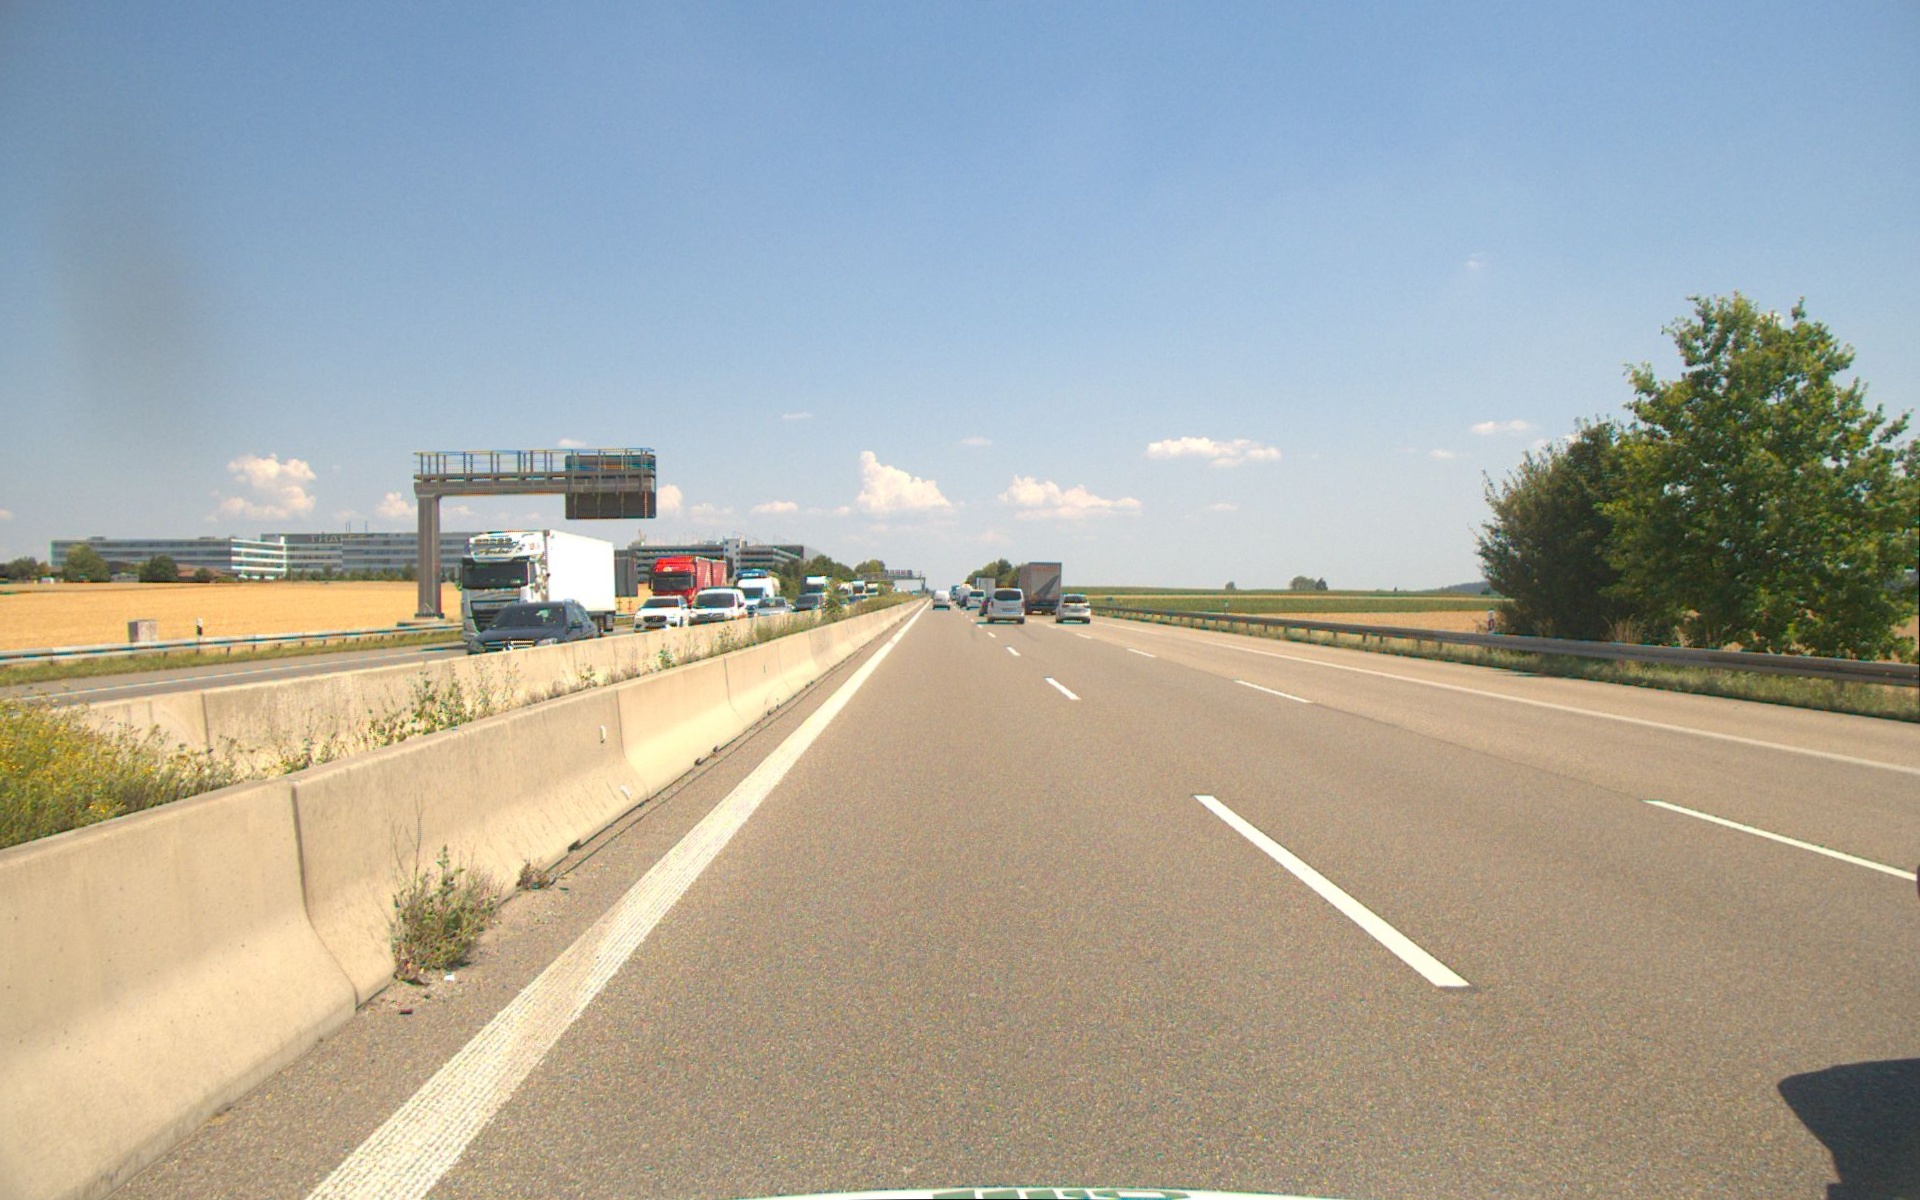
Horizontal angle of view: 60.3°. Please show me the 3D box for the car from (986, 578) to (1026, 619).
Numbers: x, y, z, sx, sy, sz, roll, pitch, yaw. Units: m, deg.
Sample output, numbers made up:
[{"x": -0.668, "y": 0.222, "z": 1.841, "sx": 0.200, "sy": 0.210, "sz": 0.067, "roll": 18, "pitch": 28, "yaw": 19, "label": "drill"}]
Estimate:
[{"x": 2.448, "y": -0.054, "z": 88.834, "sx": 1.953, "sy": 2.157, "sz": 3.999, "roll": 0, "pitch": -1, "yaw": -1, "label": "car"}]

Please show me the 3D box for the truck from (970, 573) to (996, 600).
[{"x": 3.539, "y": -2.042, "z": 257.099, "sx": 3.738, "sy": 3.973, "sz": 9.578, "roll": -1, "pitch": 0, "yaw": -1, "label": "truck"}]

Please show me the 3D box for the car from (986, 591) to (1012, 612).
[{"x": 2.798, "y": 0.151, "z": 119.838, "sx": 1.737, "sy": 1.473, "sz": 3.999, "roll": 0, "pitch": -1, "yaw": -1, "label": "car"}]

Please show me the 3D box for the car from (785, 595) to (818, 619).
[{"x": -9.238, "y": 0.396, "z": 96.745, "sx": 1.683, "sy": 1.374, "sz": 3.772, "roll": 0, "pitch": 0, "yaw": -2, "label": "car"}]

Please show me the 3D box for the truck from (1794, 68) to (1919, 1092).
[{"x": 4.136, "y": -0.040, "z": 2.388, "sx": 2.274, "sy": 3.121, "sz": 6.749, "roll": 1, "pitch": 0, "yaw": -2, "label": "truck"}]

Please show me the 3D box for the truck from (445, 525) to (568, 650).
[{"x": -16.266, "y": -0.451, "z": 59.684, "sx": 2.890, "sy": 4.230, "sz": 5.470, "roll": -2, "pitch": 0, "yaw": -1, "label": "truck"}]

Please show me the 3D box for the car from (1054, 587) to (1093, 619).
[{"x": 6.483, "y": 0.191, "z": 94.743, "sx": 1.953, "sy": 1.825, "sz": 3.999, "roll": 0, "pitch": -1, "yaw": -1, "label": "car"}]

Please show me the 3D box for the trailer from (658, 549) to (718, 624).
[{"x": -17.537, "y": -0.854, "z": 107.245, "sx": 2.720, "sy": 4.678, "sz": 8.599, "roll": 0, "pitch": 0, "yaw": -2, "label": "trailer"}]

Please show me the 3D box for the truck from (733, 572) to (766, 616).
[{"x": -17.843, "y": -0.525, "z": 140.432, "sx": 2.067, "sy": 3.663, "sz": 7.118, "roll": 0, "pitch": 0, "yaw": -2, "label": "truck"}]

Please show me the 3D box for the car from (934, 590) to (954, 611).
[{"x": -1.619, "y": 0.043, "z": 163.555, "sx": 1.953, "sy": 2.049, "sz": 3.999, "roll": 0, "pitch": -1, "yaw": -1, "label": "car"}]

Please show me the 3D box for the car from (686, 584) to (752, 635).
[{"x": -8.750, "y": 0.314, "z": 60.389, "sx": 1.779, "sy": 1.784, "sz": 4.991, "roll": 0, "pitch": 0, "yaw": -2, "label": "car"}]

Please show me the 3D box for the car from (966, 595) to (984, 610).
[{"x": 1.479, "y": 0.284, "z": 165.836, "sx": 1.737, "sy": 1.473, "sz": 3.999, "roll": 0, "pitch": -1, "yaw": -1, "label": "car"}]

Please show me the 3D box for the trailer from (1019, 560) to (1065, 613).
[{"x": 6.580, "y": -1.019, "z": 134.220, "sx": 3.211, "sy": 4.037, "sz": 9.110, "roll": 0, "pitch": -1, "yaw": -1, "label": "trailer"}]

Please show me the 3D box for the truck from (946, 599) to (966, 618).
[{"x": -0.445, "y": 0.939, "z": 186.360, "sx": 2.167, "sy": 2.049, "sz": 4.970, "roll": 0, "pitch": 0, "yaw": -2, "label": "truck"}]

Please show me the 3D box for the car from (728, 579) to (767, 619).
[{"x": -13.224, "y": -0.069, "z": 103.090, "sx": 1.822, "sy": 2.377, "sz": 5.705, "roll": 0, "pitch": 0, "yaw": -2, "label": "car"}]

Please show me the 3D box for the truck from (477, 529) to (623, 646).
[{"x": -16.435, "y": -0.485, "z": 67.402, "sx": 2.890, "sy": 4.230, "sz": 12.863, "roll": -2, "pitch": 0, "yaw": -1, "label": "truck"}]

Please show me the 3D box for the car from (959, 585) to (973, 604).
[{"x": 0.802, "y": -0.718, "z": 219.922, "sx": 1.737, "sy": 2.434, "sz": 3.999, "roll": 0, "pitch": -1, "yaw": -1, "label": "car"}]

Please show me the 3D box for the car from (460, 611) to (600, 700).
[{"x": -8.135, "y": 1.003, "z": 31.617, "sx": 1.639, "sy": 1.513, "sz": 4.396, "roll": 0, "pitch": 0, "yaw": -2, "label": "car"}]

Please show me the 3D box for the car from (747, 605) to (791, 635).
[{"x": -9.097, "y": 0.922, "z": 78.907, "sx": 1.779, "sy": 1.374, "sz": 3.772, "roll": 0, "pitch": 0, "yaw": -2, "label": "car"}]

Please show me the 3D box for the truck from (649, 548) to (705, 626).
[{"x": -17.376, "y": -0.814, "z": 101.722, "sx": 2.720, "sy": 4.678, "sz": 4.722, "roll": 0, "pitch": 0, "yaw": -2, "label": "truck"}]
